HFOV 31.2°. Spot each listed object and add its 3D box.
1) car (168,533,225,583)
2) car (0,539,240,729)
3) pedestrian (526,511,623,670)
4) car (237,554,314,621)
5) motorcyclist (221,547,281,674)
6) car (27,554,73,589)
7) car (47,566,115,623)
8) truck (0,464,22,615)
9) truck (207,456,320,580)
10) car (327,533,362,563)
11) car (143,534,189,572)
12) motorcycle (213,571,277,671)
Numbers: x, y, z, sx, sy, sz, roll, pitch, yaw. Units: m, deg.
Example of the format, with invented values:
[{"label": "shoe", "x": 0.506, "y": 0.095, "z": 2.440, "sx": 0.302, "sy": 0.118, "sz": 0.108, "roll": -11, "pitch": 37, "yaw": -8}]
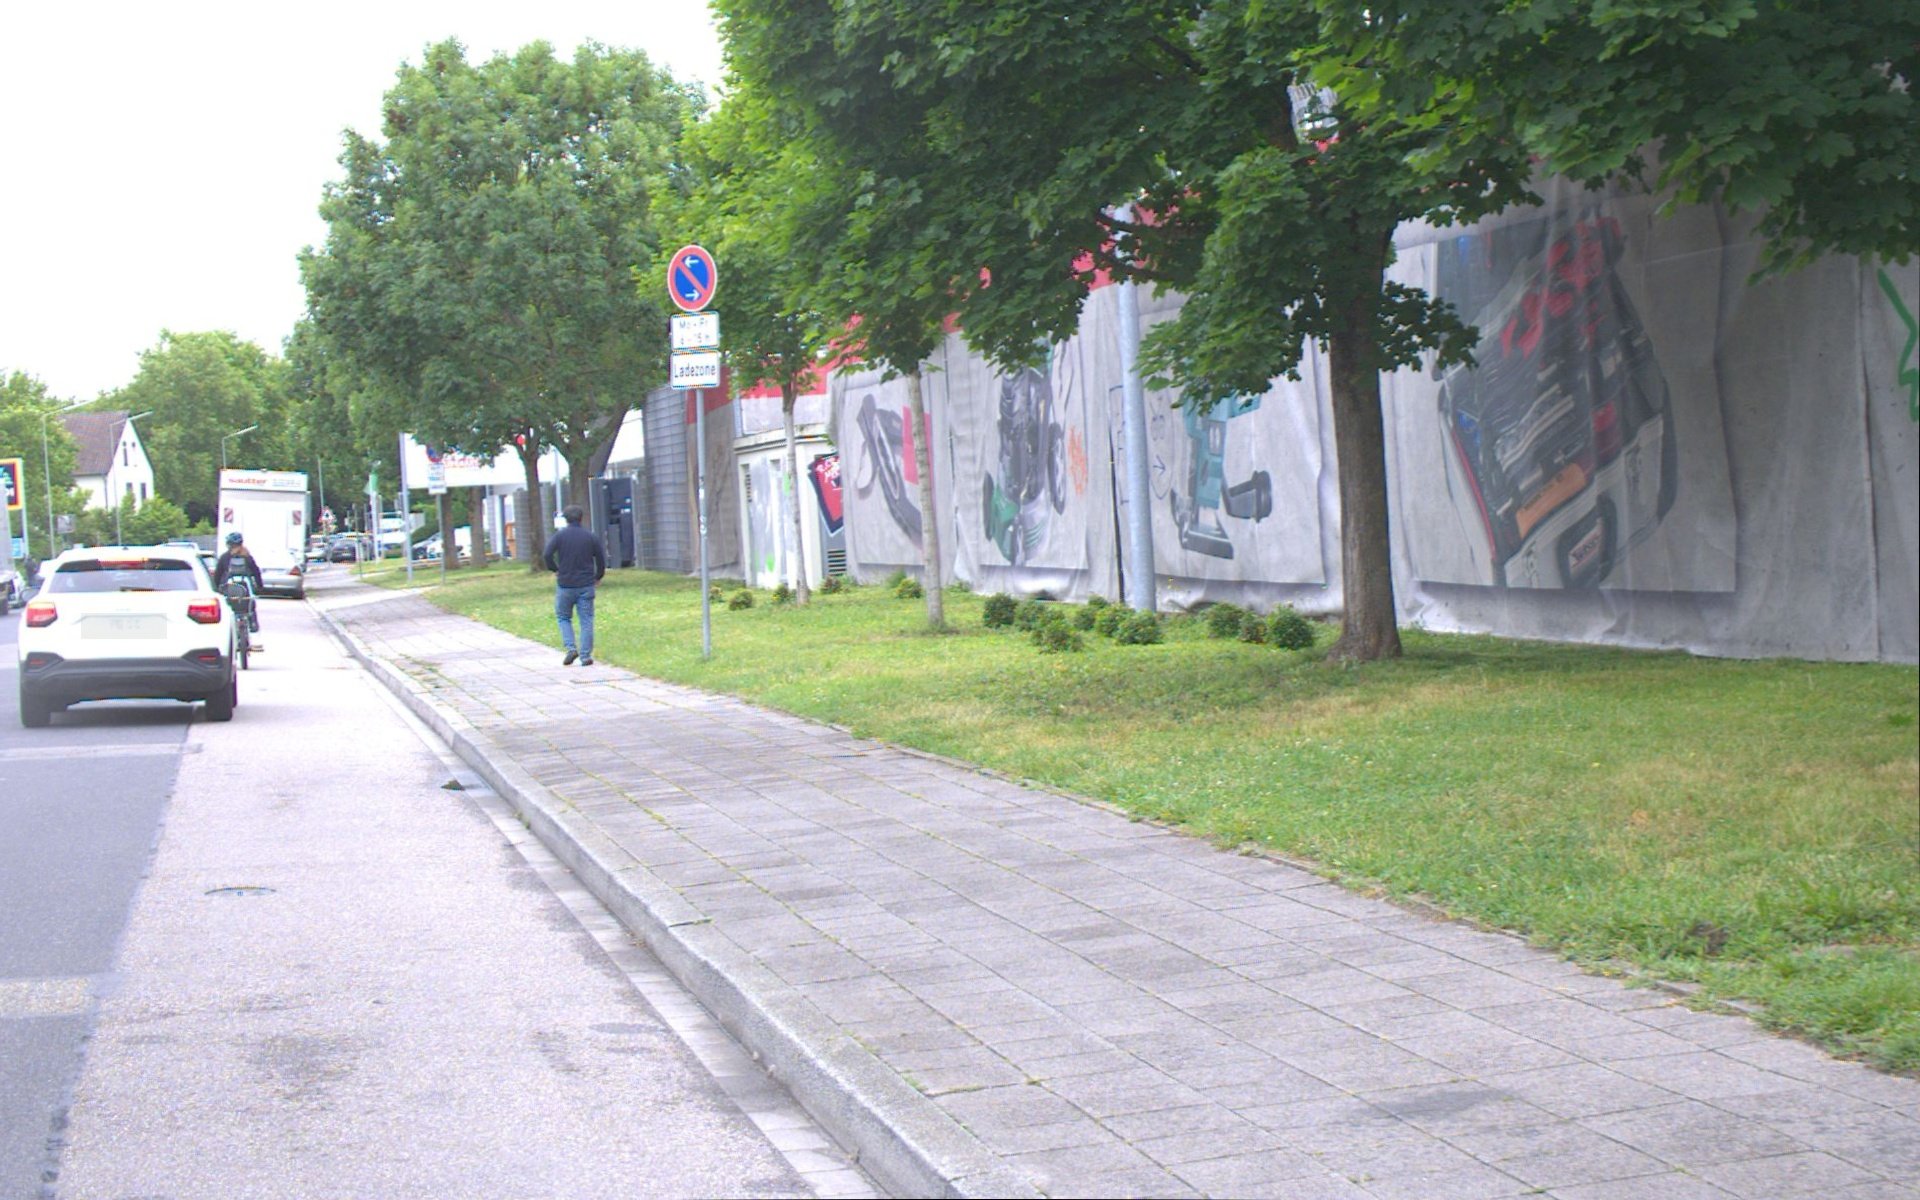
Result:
[{"label": "car", "x": -27.447, "y": -1.523, "z": 123.546, "sx": 1.869, "sy": 1.656, "sz": 4.001, "roll": -4, "pitch": 2, "yaw": -13}, {"label": "car", "x": -7.458, "y": 0.241, "z": 30.707, "sx": 1.886, "sy": 1.526, "sz": 4.255, "roll": -1, "pitch": 1, "yaw": -11}, {"label": "pedestrian", "x": -4.079, "y": -0.103, "z": 36.301, "sx": 0.919, "sy": 1.629, "sz": 0.853, "roll": -2, "pitch": 1, "yaw": -9}, {"label": "car", "x": -19.566, "y": -0.373, "z": 98.194, "sx": 1.993, "sy": 1.799, "sz": 4.001, "roll": -2, "pitch": 1, "yaw": -13}, {"label": "motorcyclist", "x": -8.891, "y": 0.127, "z": 43.129, "sx": 0.625, "sy": 1.548, "sz": 0.604, "roll": -4, "pitch": 1, "yaw": -9}, {"label": "car", "x": -36.911, "y": -1.153, "z": 139.471, "sx": 1.623, "sy": 1.370, "sz": 3.453, "roll": -2, "pitch": 1, "yaw": -12}, {"label": "car", "x": -25.871, "y": -0.188, "z": 101.231, "sx": 1.598, "sy": 1.522, "sz": 3.529, "roll": -5, "pitch": 1, "yaw": -11}, {"label": "truck", "x": -26.836, "y": -1.534, "z": 91.227, "sx": 2.973, "sy": 3.942, "sz": 6.406, "roll": -5, "pitch": 2, "yaw": -11}, {"label": "truck", "x": -21.743, "y": -2.476, "z": 106.966, "sx": 3.134, "sy": 3.572, "sz": 10.053, "roll": -2, "pitch": 1, "yaw": -13}, {"label": "car", "x": -35.958, "y": -3.064, "z": 200.802, "sx": 1.886, "sy": 1.677, "sz": 4.255, "roll": -1, "pitch": 1, "yaw": -11}, {"label": "car", "x": -37.087, "y": -2.202, "z": 160.664, "sx": 1.993, "sy": 1.678, "sz": 4.001, "roll": -2, "pitch": 1, "yaw": -13}, {"label": "motorcycle", "x": -8.979, "y": 0.247, "z": 43.224, "sx": 0.641, "sy": 1.174, "sz": 2.114, "roll": -4, "pitch": 2, "yaw": -9}]
